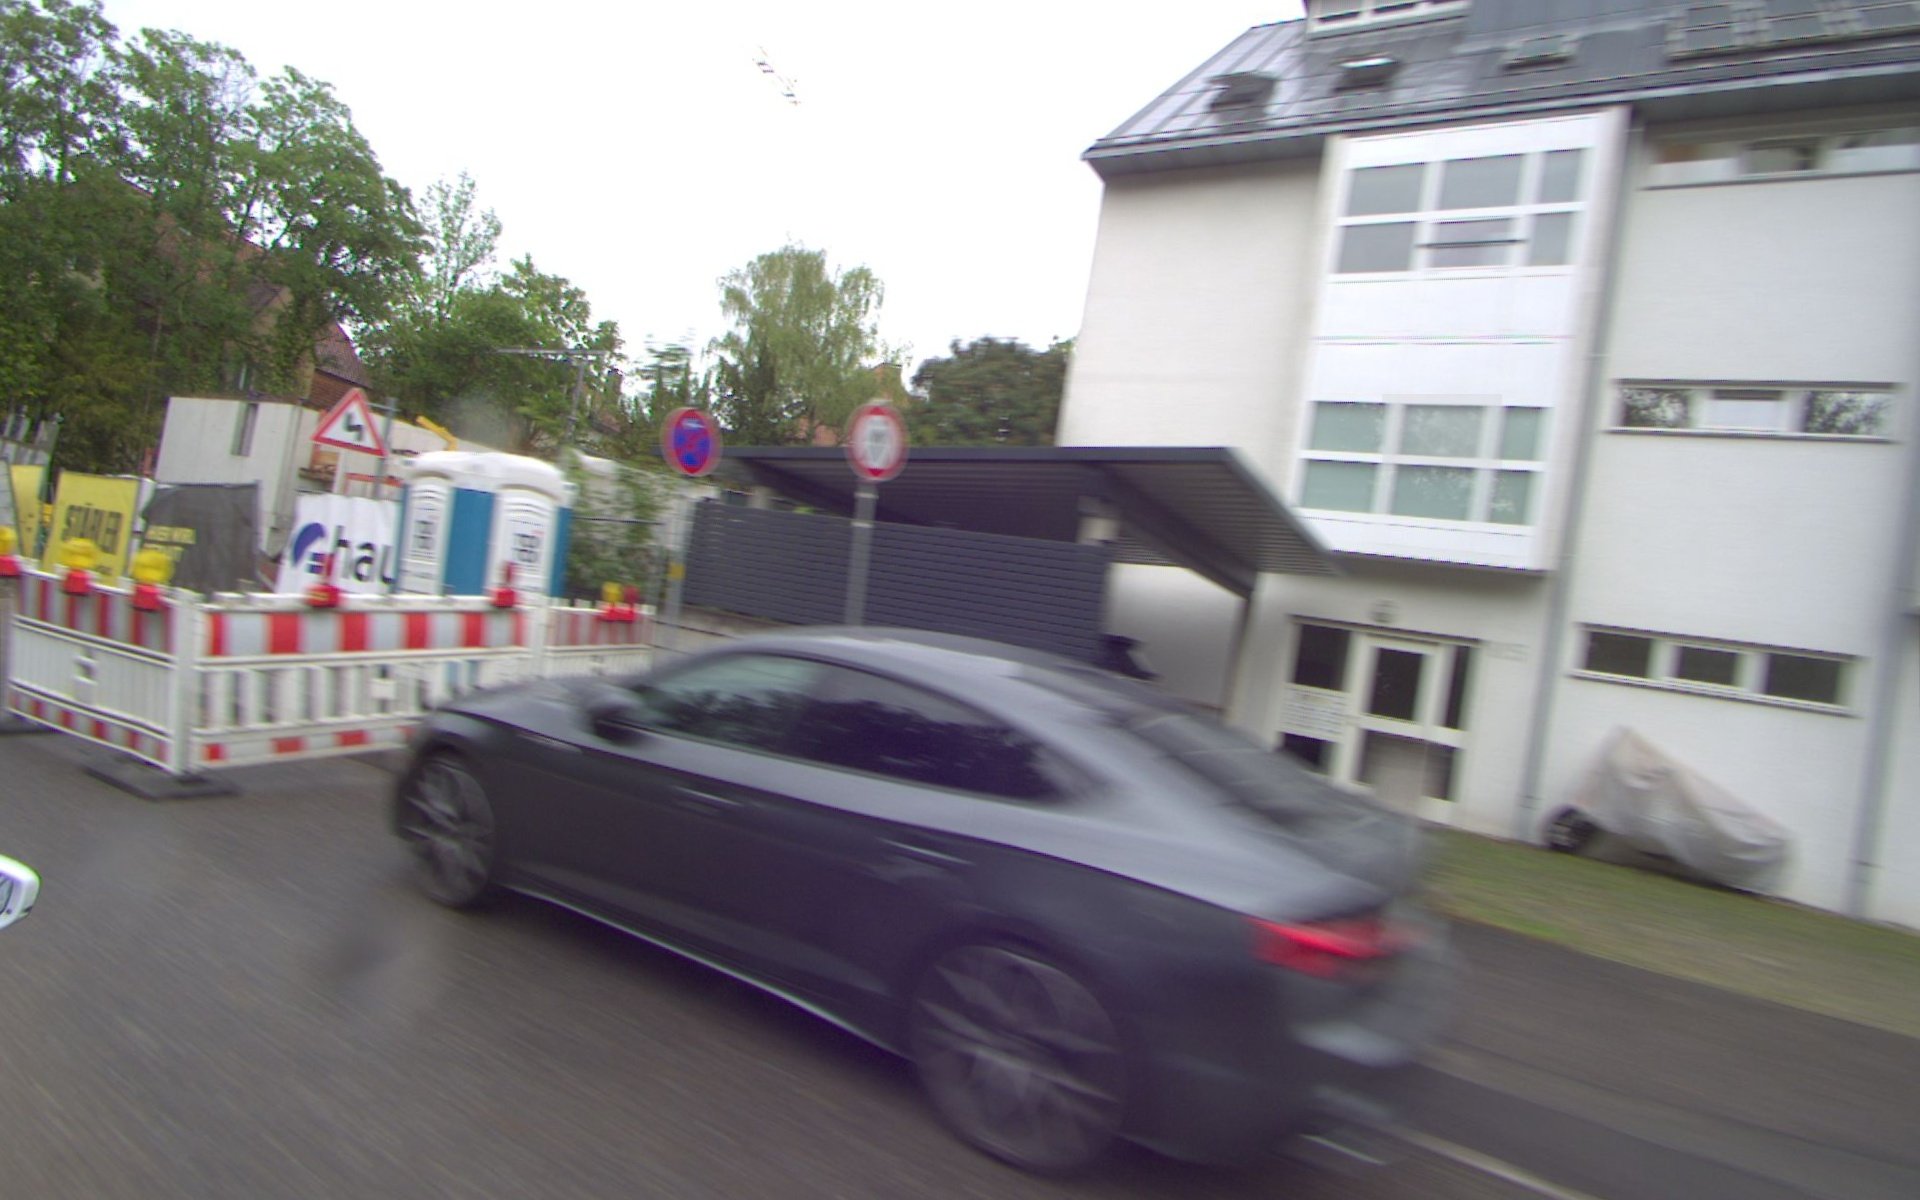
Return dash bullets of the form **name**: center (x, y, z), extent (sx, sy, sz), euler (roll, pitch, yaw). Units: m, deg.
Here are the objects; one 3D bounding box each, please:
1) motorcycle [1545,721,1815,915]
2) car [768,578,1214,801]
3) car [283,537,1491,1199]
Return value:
- **motorcycle**: center (7.157, 2.114, 10.150), extent (2.010, 1.468, 0.797), euler (7, -2, 32)
- **car**: center (0.221, 0.827, 9.891), extent (3.937, 1.487, 1.700), euler (7, -5, 35)
- **car**: center (-0.529, 0.769, 4.290), extent (4.755, 1.438, 1.937), euler (7, -2, 31)
